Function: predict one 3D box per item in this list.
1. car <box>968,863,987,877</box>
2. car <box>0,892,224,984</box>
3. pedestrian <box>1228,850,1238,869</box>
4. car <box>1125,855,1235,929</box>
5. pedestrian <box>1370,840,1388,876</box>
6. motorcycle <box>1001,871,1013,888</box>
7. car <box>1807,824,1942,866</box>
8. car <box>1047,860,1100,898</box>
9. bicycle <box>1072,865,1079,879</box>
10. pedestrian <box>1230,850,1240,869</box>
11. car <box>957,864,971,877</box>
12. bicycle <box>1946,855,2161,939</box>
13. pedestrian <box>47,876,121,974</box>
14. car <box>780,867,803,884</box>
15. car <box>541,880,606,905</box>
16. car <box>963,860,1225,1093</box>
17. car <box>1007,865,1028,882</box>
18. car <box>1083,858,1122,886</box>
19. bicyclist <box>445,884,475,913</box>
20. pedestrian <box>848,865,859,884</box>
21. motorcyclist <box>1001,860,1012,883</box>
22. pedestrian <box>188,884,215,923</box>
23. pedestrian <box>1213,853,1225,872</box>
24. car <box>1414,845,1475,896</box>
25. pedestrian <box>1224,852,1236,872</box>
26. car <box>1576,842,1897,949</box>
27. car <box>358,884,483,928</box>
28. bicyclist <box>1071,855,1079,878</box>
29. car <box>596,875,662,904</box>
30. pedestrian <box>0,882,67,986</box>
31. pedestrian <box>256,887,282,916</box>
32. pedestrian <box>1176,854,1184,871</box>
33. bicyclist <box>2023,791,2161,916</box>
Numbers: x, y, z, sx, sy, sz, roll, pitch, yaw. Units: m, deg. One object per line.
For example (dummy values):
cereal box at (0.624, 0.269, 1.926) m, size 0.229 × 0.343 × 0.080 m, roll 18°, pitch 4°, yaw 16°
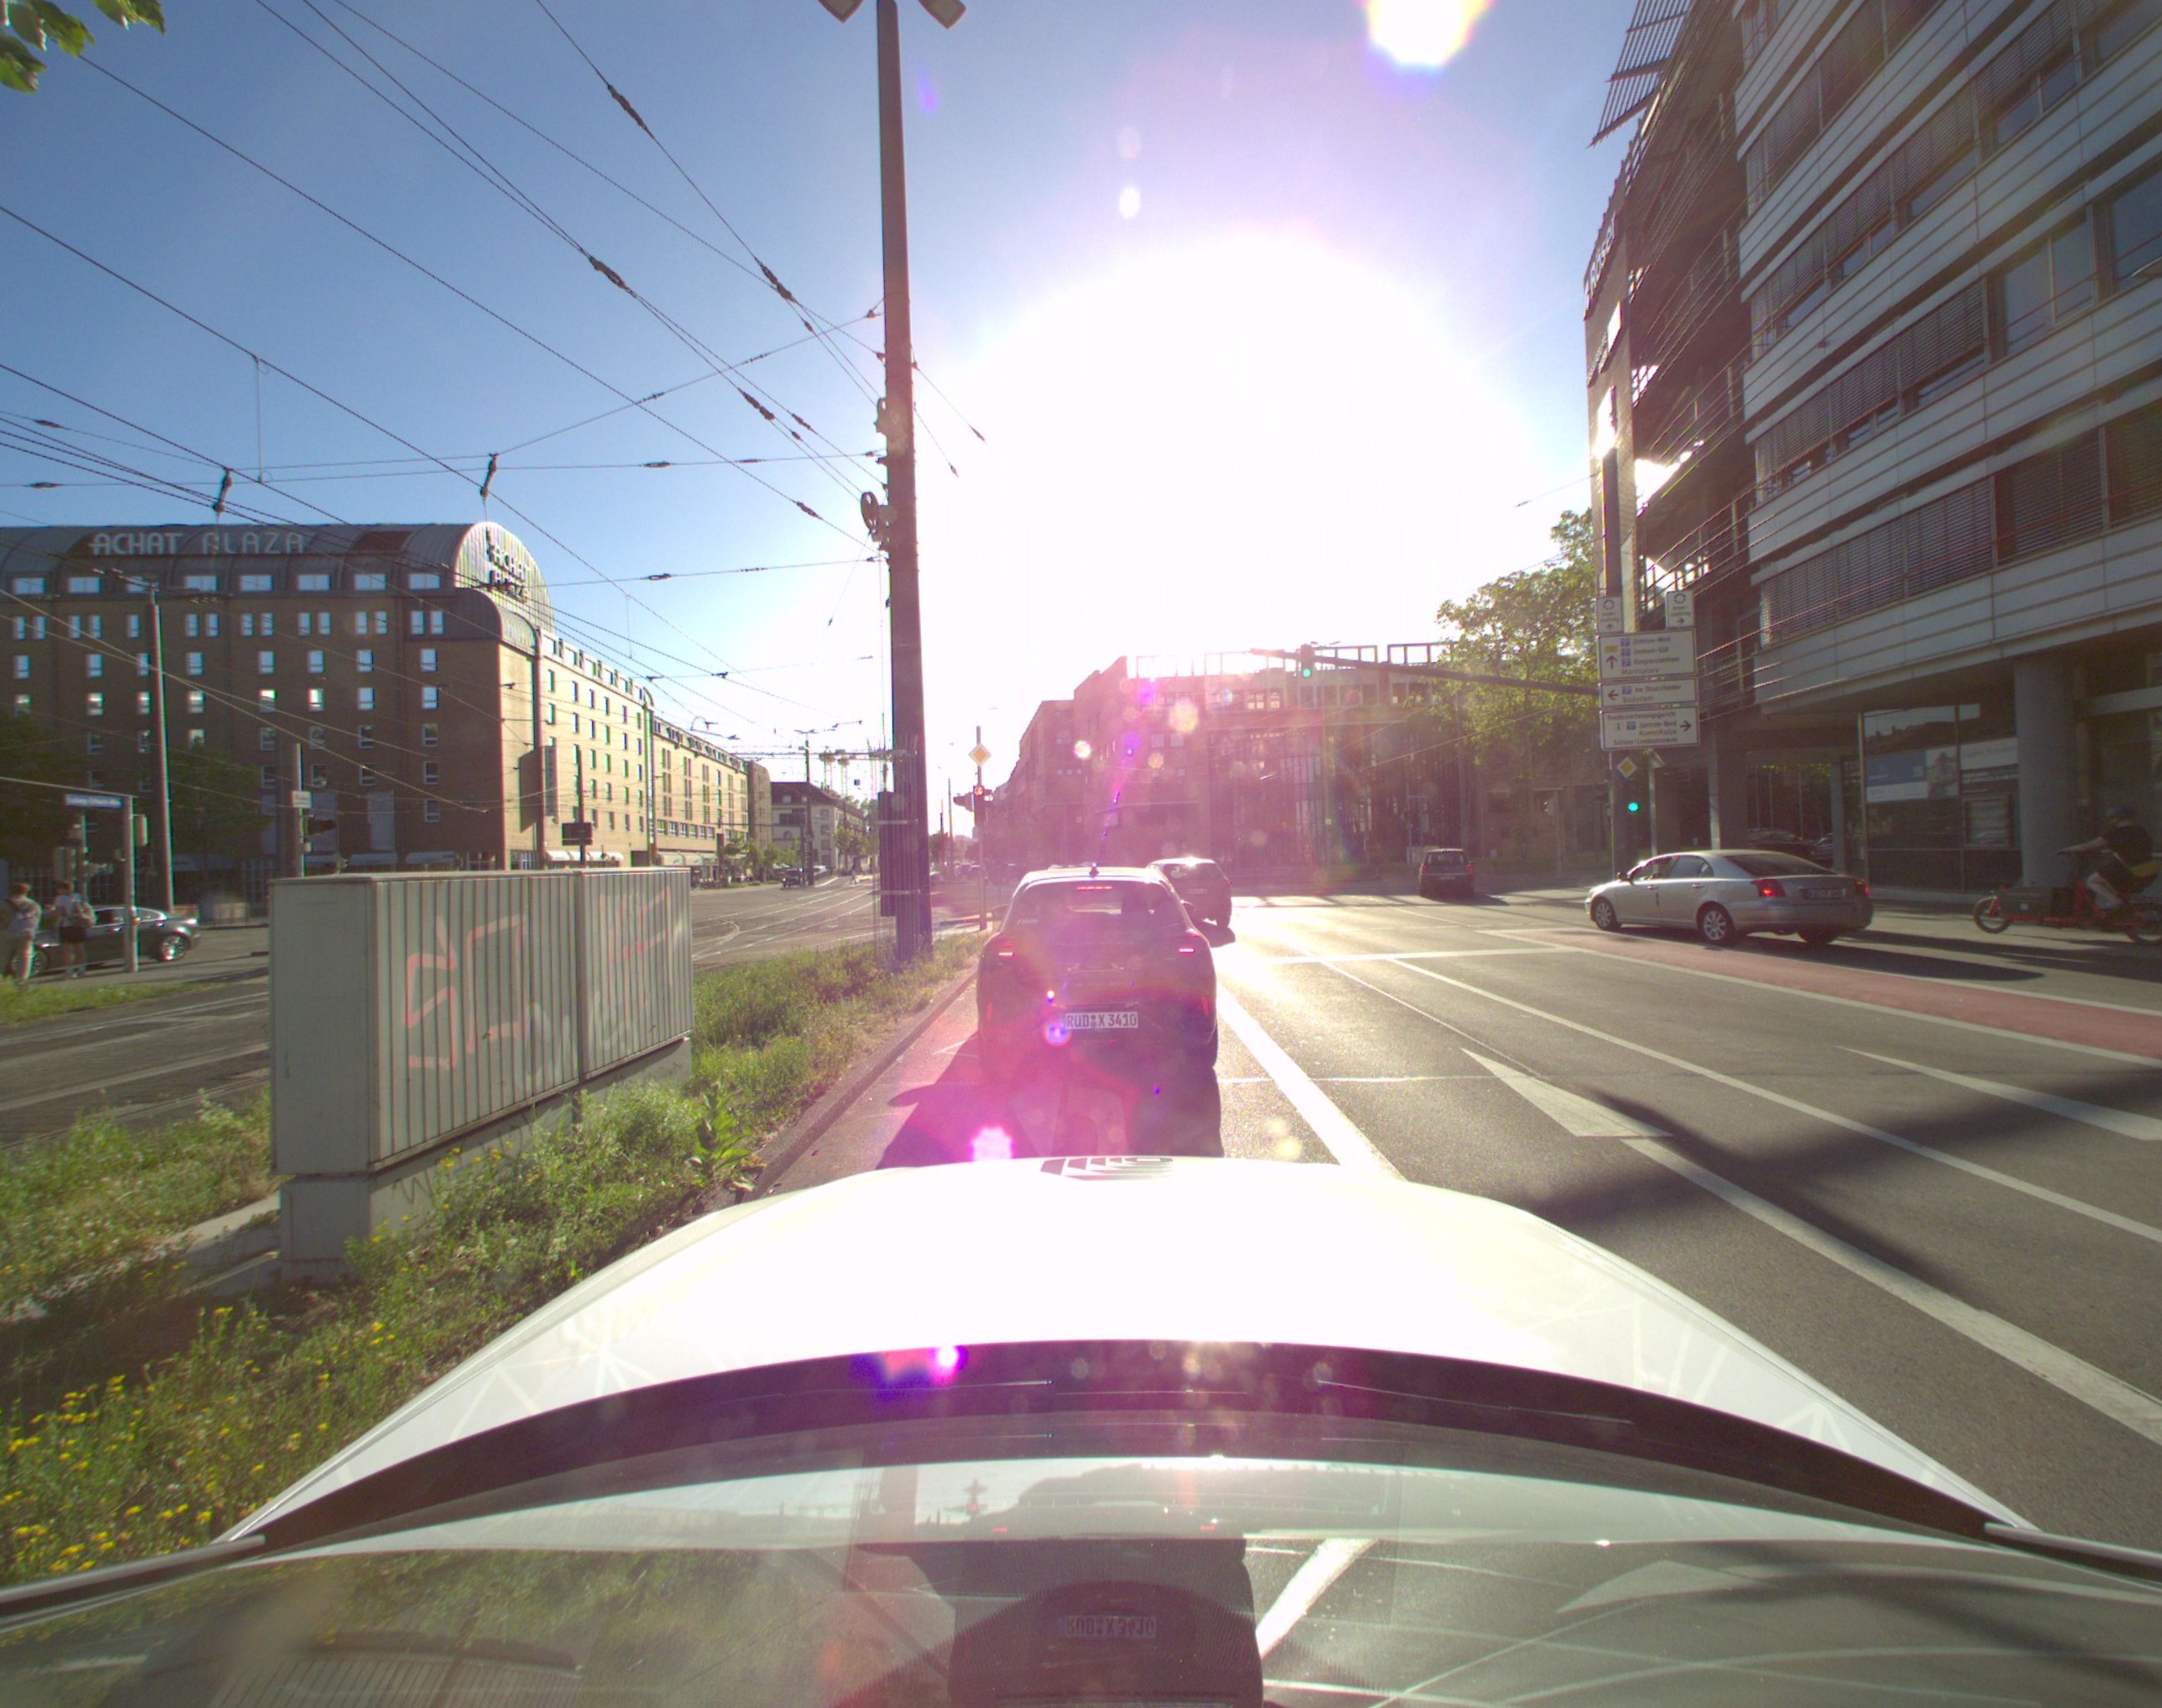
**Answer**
car at (-10.744, 1.671, 84.478) m, size 1.737 × 1.349 × 3.986 m, roll -2°, pitch 0°, yaw -10°
car at (-22.023, 1.755, 17.653) m, size 1.989 × 1.596 × 4.732 m, roll -2°, pitch 0°, yaw -4°
pedestrian at (12.983, 0.481, 69.573) m, size 0.733 × 1.617 × 0.562 m, roll -2°, pitch 0°, yaw 10°
car at (2.106, 0.764, 18.456) m, size 1.683 × 1.433 × 4.146 m, roll -1°, pitch 0°, yaw -5°
pedestrian at (14.881, 0.194, 40.707) m, size 0.700 × 1.759 × 0.564 m, roll -2°, pitch -1°, yaw 27°
motorcycle at (-5.197, 1.773, 56.983) m, size 0.774 × 1.115 × 1.964 m, roll -2°, pitch 0°, yaw -7°
car at (32.677, -0.362, 33.594) m, size 3.981 × 1.651 × 1.861 m, roll -1°, pitch 0°, yaw -6°
car at (-0.397, 1.032, 34.972) m, size 1.809 × 1.492 × 4.486 m, roll -1°, pitch 0°, yaw -6°
bicycle at (-0.418, 1.376, 63.490) m, size 0.490 × 0.997 × 2.327 m, roll -2°, pitch 0°, yaw 0°
pedestrian at (12.964, 0.476, 68.659) m, size 0.733 × 1.617 × 0.562 m, roll -2°, pitch 0°, yaw 10°
car at (-14.809, 2.063, 103.035) m, size 1.737 × 1.651 × 3.987 m, roll -2°, pitch 0°, yaw -9°
bicycle at (13.505, 0.549, 11.264) m, size 0.498 × 1.032 × 2.199 m, roll -2°, pitch 0°, yaw -9°
pedestrian at (-19.234, 1.352, 15.724) m, size 0.562 × 1.817 × 0.662 m, roll -2°, pitch 0°, yaw -5°
car at (-28.176, 2.045, 79.352) m, size 1.748 × 1.505 × 3.860 m, roll -2°, pitch 0°, yaw -15°
car at (-35.693, 2.670, 57.362) m, size 1.745 × 1.550 × 4.007 m, roll -2°, pitch 0°, yaw 6°
car at (0.188, 0.803, 7.226) m, size 1.642 × 1.433 × 4.003 m, roll -2°, pitch 0°, yaw 3°
car at (-6.008, 1.814, 76.437) m, size 1.805 × 1.457 × 3.991 m, roll -1°, pitch 0°, yaw -6°
car at (1.161, 0.997, 46.432) m, size 1.804 × 1.457 × 3.994 m, roll -1°, pitch 0°, yaw -4°
bicyclist at (-30.693, 2.187, 40.248) m, size 0.756 × 1.375 × 0.949 m, roll -2°, pitch 0°, yaw -6°
pedestrian at (-20.662, 1.840, 74.002) m, size 0.770 × 1.640 × 0.737 m, roll -2°, pitch -1°, yaw -29°
motorcyclist at (-5.230, 1.235, 57.131) m, size 0.744 × 1.530 × 1.019 m, roll -2°, pitch 0°, yaw -6°
pedestrian at (-47.351, 2.662, 43.826) m, size 0.663 × 2.013 × 0.678 m, roll -2°, pitch 0°, yaw 3°
pedestrian at (11.513, 0.711, 68.040) m, size 0.894 × 1.617 × 0.562 m, roll -2°, pitch 0°, yaw 10°
car at (12.752, 0.538, 28.802) m, size 1.673 × 1.629 × 4.486 m, roll -2°, pitch 0°, yaw 21°
pedestrian at (12.362, 0.634, 67.399) m, size 0.894 × 1.617 × 0.562 m, roll -2°, pitch 0°, yaw 10°
car at (10.578, 0.590, 13.683) m, size 1.745 × 1.431 × 4.488 m, roll -2°, pitch 0°, yaw 0°
car at (-26.301, 2.023, 32.624) m, size 1.719 × 1.422 × 4.139 m, roll -4°, pitch 0°, yaw -4°
bicyclist at (-0.463, 0.957, 63.370) m, size 0.575 × 1.791 × 0.863 m, roll -2°, pitch 0°, yaw 0°
car at (-25.431, 1.976, 45.936) m, size 1.569 × 1.449 × 3.996 m, roll -2°, pitch 0°, yaw -3°
pedestrian at (-19.186, 1.436, 14.804) m, size 0.630 × 1.830 × 0.662 m, roll -2°, pitch 0°, yaw -5°
pedestrian at (-43.343, 2.536, 43.459) m, size 0.674 × 1.503 × 0.659 m, roll -2°, pitch 0°, yaw -1°
pedestrian at (8.168, 0.711, 67.286) m, size 0.527 × 1.430 × 0.598 m, roll -2°, pitch 0°, yaw 1°
bicyclist at (13.533, 0.000, 10.865) m, size 0.623 × 1.566 × 1.042 m, roll -2°, pitch -1°, yaw -4°
